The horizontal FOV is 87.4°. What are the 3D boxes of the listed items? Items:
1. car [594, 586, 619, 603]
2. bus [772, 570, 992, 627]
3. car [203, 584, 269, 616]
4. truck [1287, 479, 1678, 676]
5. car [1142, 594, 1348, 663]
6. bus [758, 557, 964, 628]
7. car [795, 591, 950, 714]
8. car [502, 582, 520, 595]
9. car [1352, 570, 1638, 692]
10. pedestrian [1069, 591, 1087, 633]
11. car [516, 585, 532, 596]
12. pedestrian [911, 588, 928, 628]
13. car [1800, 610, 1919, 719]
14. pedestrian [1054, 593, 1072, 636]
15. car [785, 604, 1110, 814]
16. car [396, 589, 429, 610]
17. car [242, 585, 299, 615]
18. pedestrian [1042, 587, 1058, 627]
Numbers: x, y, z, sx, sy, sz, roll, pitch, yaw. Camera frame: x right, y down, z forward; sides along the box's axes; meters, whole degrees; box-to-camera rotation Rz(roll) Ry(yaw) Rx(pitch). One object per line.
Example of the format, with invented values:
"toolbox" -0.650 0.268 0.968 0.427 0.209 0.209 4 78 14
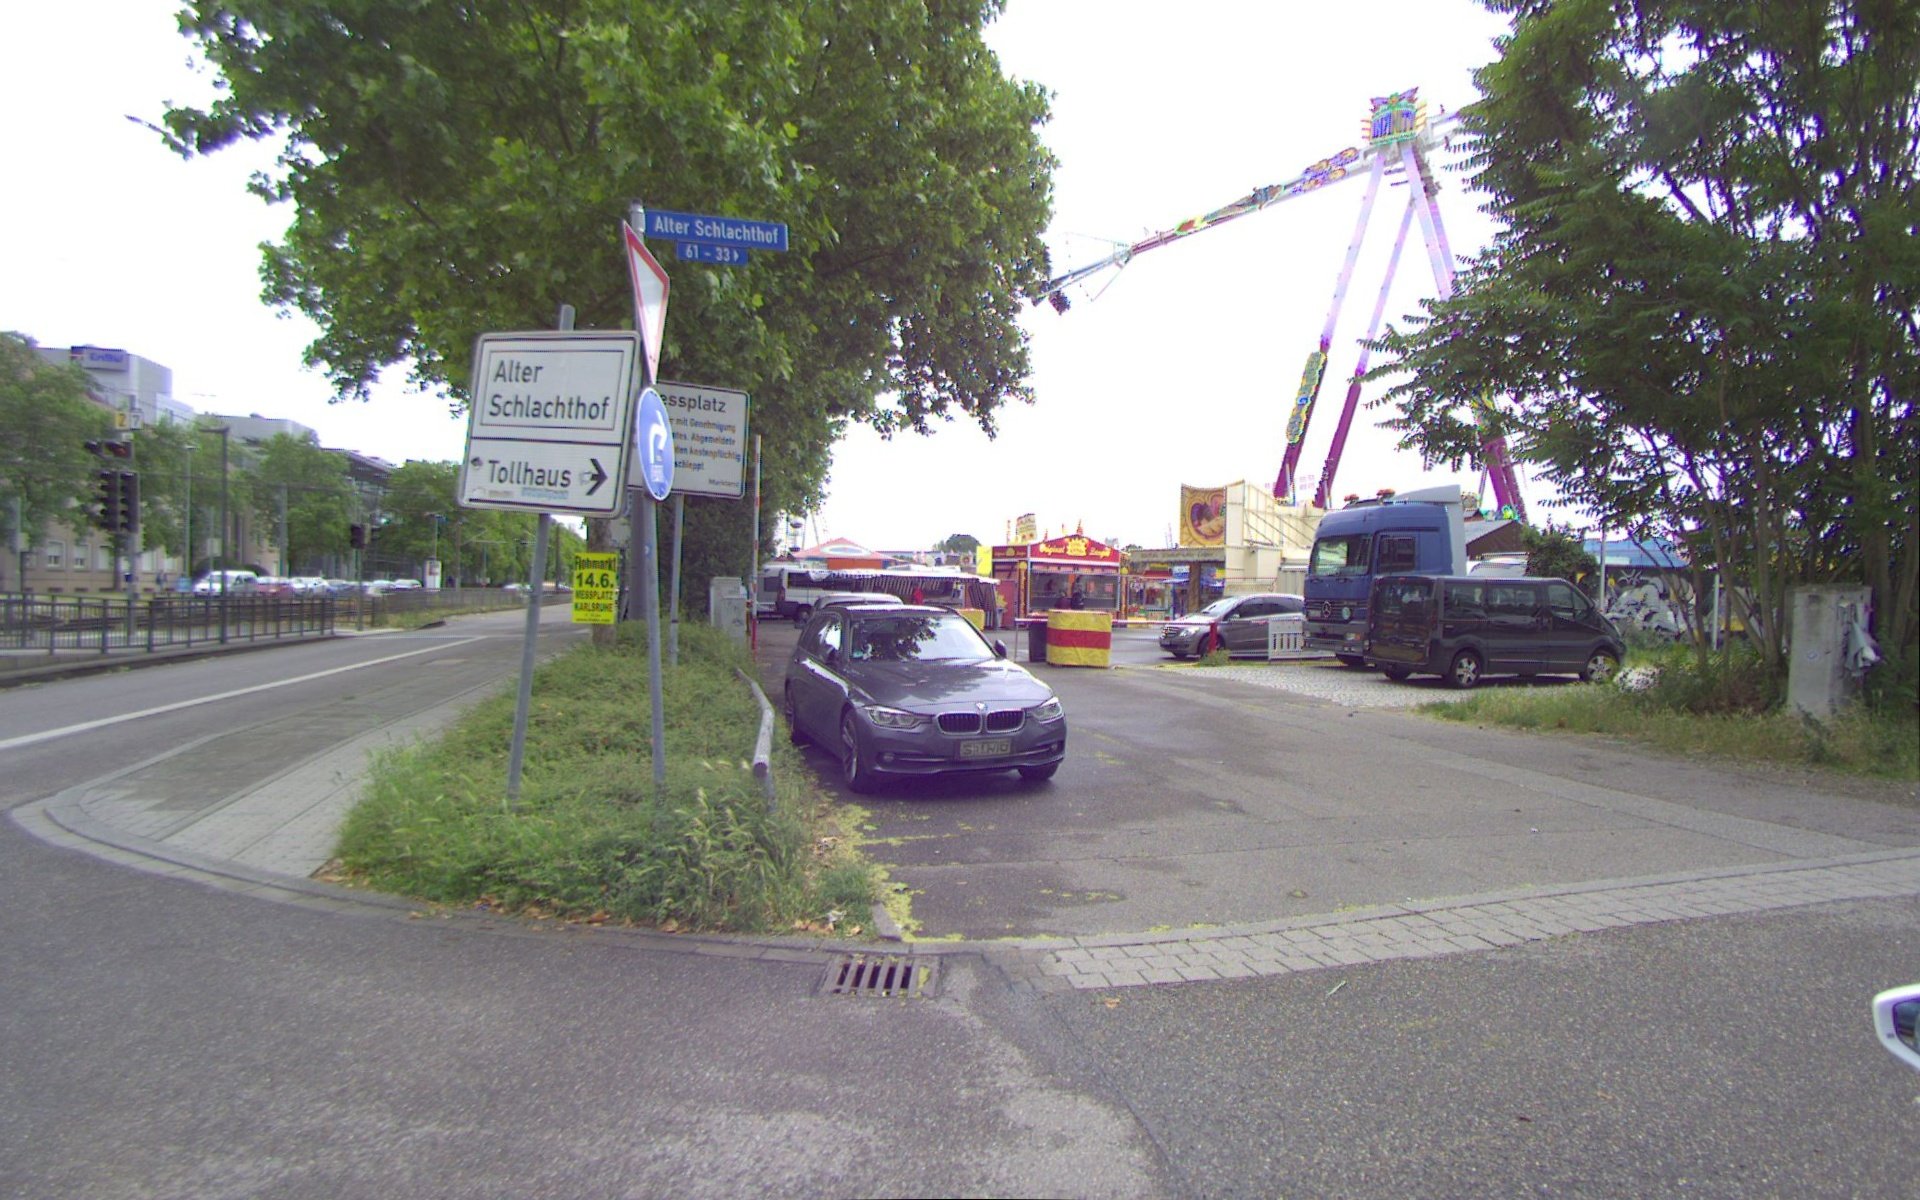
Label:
"car" -32.881 -0.503 93.498 1.815 1.573 3.989 0 0 -13
"bus" -3.279 -0.023 42.990 9.159 2.257 1.992 1 0 -18
"car" -42.255 -0.001 58.731 1.969 1.818 3.984 1 0 -18
"truck" 11.495 -0.381 22.126 8.083 3.873 2.591 1 0 -17
"car" 6.978 0.694 24.728 4.513 1.596 1.993 1 0 -16
"bus" -4.479 -0.289 45.936 9.159 2.999 1.992 1 0 -18
"car" -1.476 0.706 15.344 1.837 1.615 3.990 1 0 -13
"car" -64.638 -1.584 144.680 1.969 1.818 3.984 1 0 -18
"car" 9.752 0.496 18.399 4.513 2.041 1.993 0 2 -17
"pedestrian" 4.850 0.508 41.140 0.518 1.709 0.490 1 0 -31
"car" -70.008 -1.517 161.270 1.969 1.818 3.984 1 0 -18
"pedestrian" -1.514 0.305 37.310 0.486 1.482 0.522 1 0 -18
"car" 13.248 0.879 12.433 1.861 1.367 3.985 3 -1 -17
"pedestrian" 4.198 0.586 40.779 0.518 1.709 0.490 1 0 -31
"car" -0.368 0.788 9.239 1.840 1.449 3.983 1 0 -19
"car" -50.255 -0.025 92.297 1.969 1.818 3.984 1 0 -18
"car" -43.997 -0.012 64.198 1.969 1.818 3.984 1 0 -18
"pedestrian" 3.859 0.314 43.198 0.486 1.709 0.522 1 0 -18
